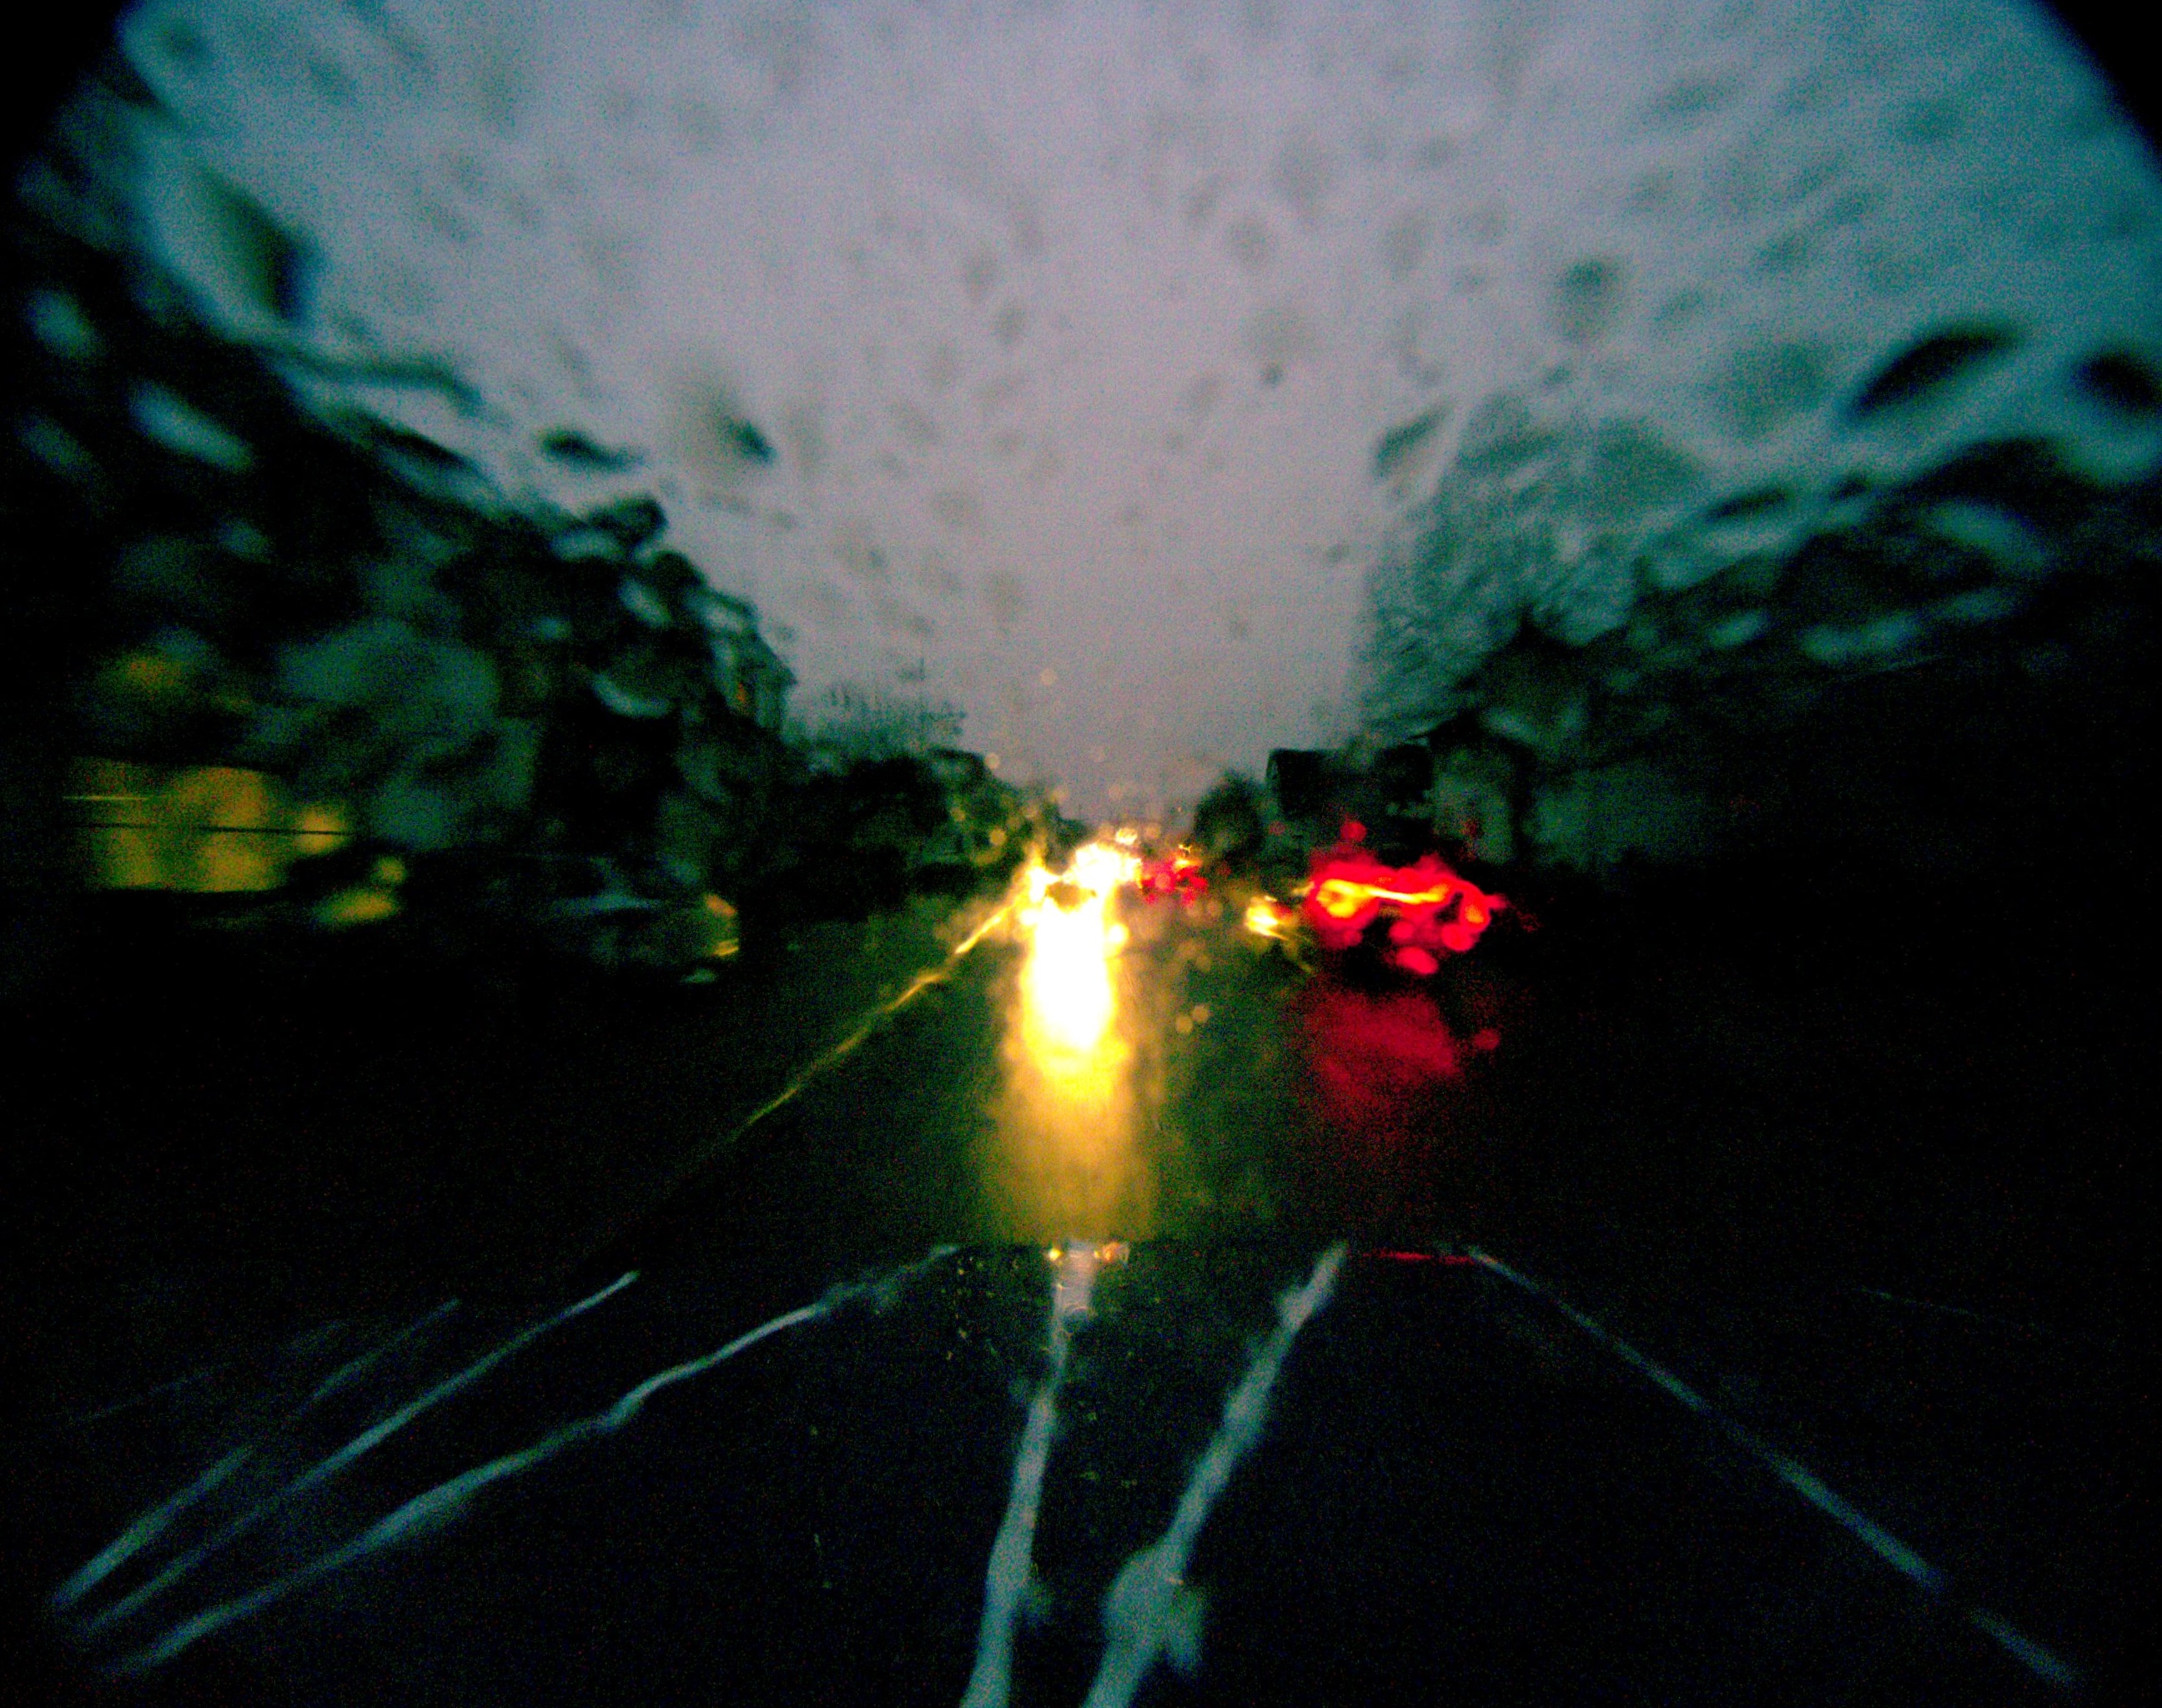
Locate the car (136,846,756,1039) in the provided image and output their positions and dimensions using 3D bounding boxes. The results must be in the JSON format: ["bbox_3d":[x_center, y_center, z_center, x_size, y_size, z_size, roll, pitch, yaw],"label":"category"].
[{"bbox_3d":[-6.045,0.766,7.621,4.744,1.620,1.907,1,0,4],"label":"car"}]

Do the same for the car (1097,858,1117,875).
[{"bbox_3d":[2.689,1.276,78.339,1.775,1.608,3.874,-1,0,5],"label":"car"}]

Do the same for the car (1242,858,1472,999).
[{"bbox_3d":[3.685,0.882,11.031,1.818,1.623,4.225,1,0,1],"label":"car"}]

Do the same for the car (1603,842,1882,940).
[{"bbox_3d":[13.448,0.660,15.941,1.998,1.745,4.568,0,0,2],"label":"car"}]

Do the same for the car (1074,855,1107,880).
[{"bbox_3d":[0.729,0.933,53.826,1.997,1.660,4.002,-1,0,6],"label":"car"}]

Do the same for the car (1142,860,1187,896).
[{"bbox_3d":[3.739,1.033,34.594,1.708,1.433,4.425,1,0,2],"label":"car"}]

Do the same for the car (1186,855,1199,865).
[{"bbox_3d":[20.289,1.109,138.433,1.966,1.688,4.004,-1,0,14],"label":"car"}]

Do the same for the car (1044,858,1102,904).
[{"bbox_3d":[-0.281,0.962,28.612,1.998,1.575,4.000,0,0,0],"label":"car"}]

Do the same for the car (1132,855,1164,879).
[{"bbox_3d":[4.254,0.819,48.775,1.708,1.433,4.000,1,0,0],"label":"car"}]
